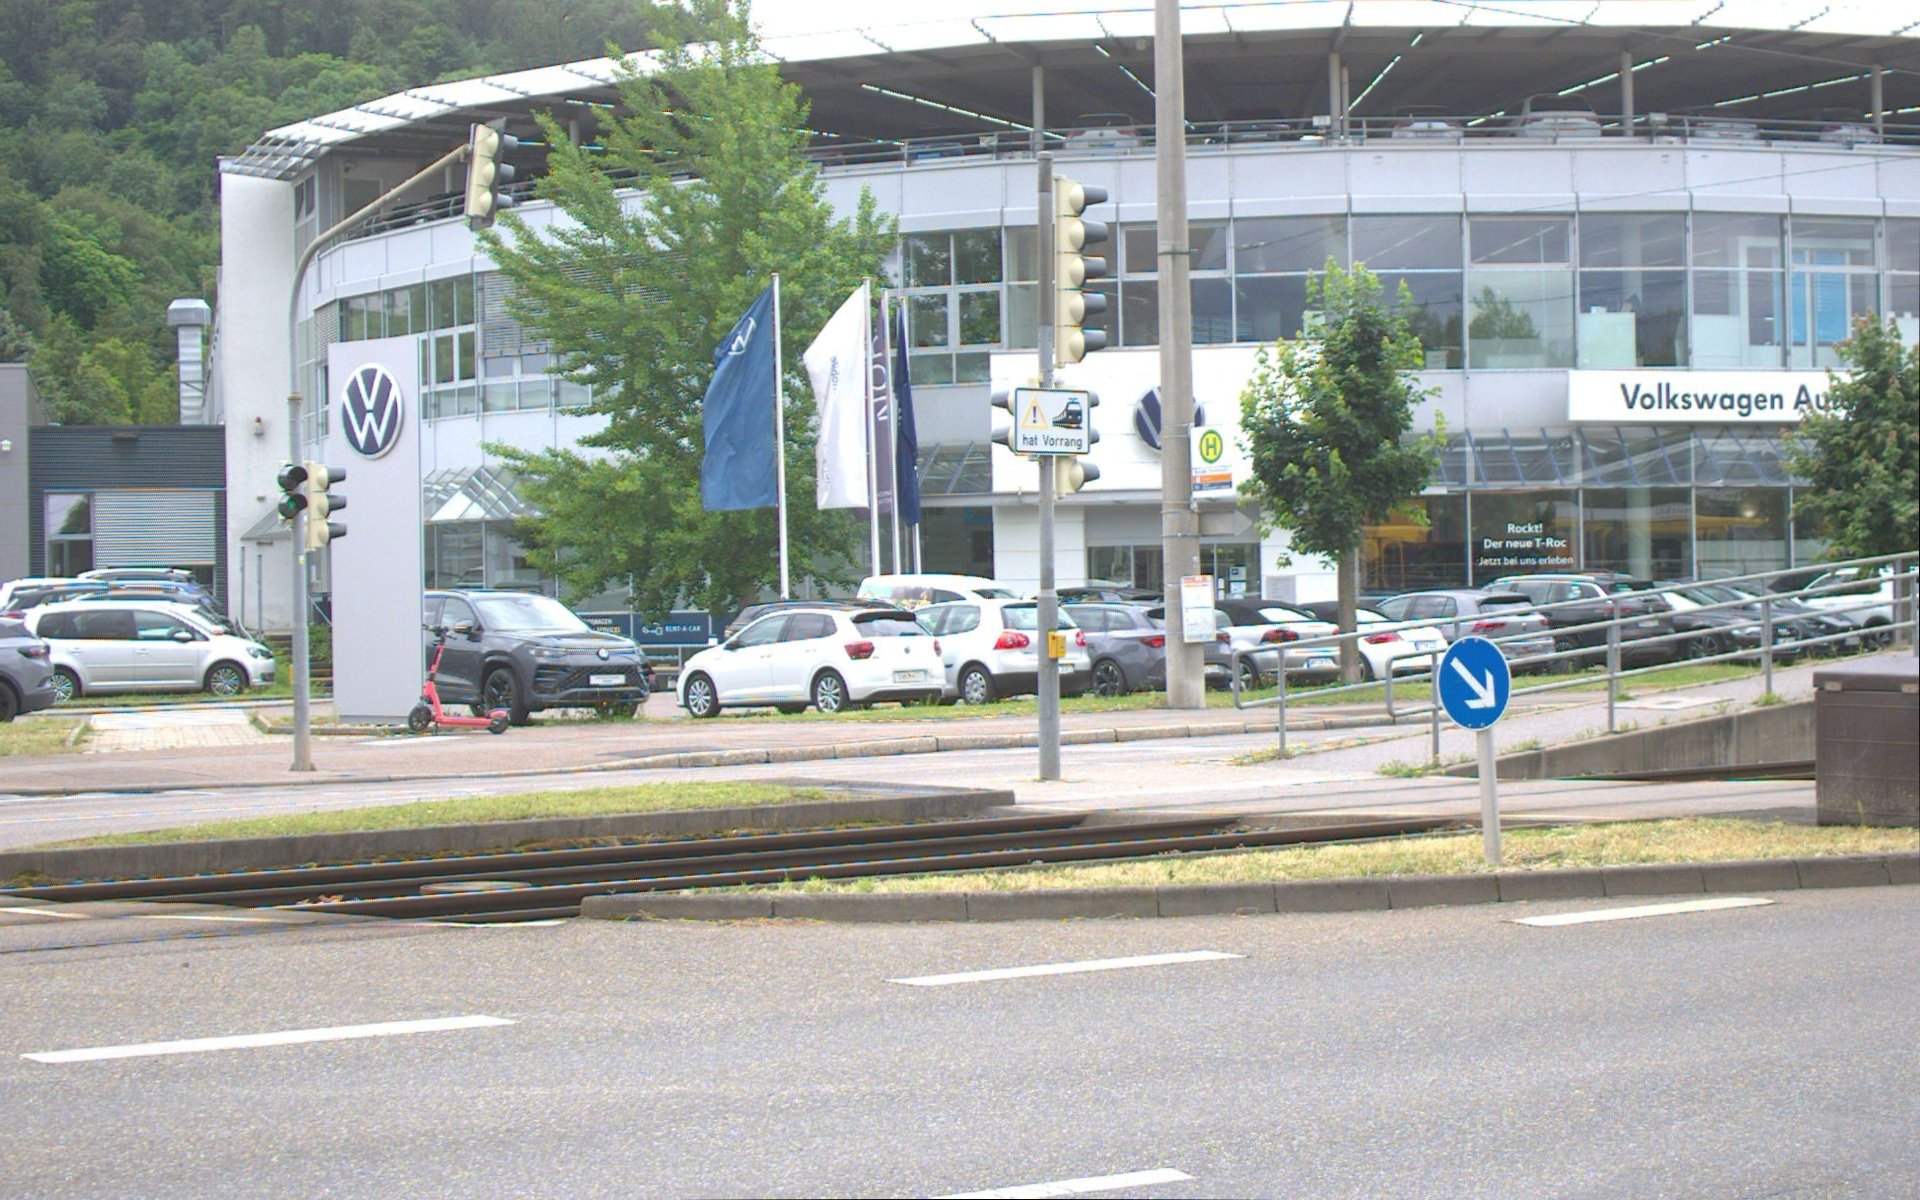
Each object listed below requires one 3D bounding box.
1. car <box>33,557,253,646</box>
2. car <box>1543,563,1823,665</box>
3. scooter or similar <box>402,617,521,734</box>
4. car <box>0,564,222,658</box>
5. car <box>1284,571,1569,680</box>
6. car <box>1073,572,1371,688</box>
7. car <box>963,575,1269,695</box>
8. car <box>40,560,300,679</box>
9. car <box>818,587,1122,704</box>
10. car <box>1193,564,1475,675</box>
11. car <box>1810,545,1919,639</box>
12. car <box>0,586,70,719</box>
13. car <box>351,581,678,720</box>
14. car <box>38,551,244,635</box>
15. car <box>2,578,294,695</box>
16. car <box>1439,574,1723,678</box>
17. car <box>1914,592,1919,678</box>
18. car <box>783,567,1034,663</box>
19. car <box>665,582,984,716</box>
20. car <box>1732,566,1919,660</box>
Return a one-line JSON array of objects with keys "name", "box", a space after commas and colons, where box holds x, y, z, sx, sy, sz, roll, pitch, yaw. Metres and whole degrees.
[{"name": "car", "box": [-18.002, 0.057, 75.729, 4.494, 1.723, 2.000, 3, -2, -18]}, {"name": "car", "box": [11.635, 0.223, 55.451, 1.922, 1.549, 3.997, -3, 1, -44]}, {"name": "scooter or similar", "box": [-5.702, 0.869, 39.327, 1.200, 1.284, 0.575, 3, -3, -22]}, {"name": "car", "box": [-17.713, 0.255, 71.272, 4.494, 1.723, 2.000, 3, -2, -18]}, {"name": "car", "box": [7.178, 0.403, 53.107, 1.922, 1.549, 3.997, 4, -3, -44]}, {"name": "car", "box": [3.773, 0.448, 49.874, 1.922, 1.549, 3.997, 4, -3, -44]}, {"name": "car", "box": [2.140, 0.495, 47.983, 1.922, 1.549, 3.997, 4, -3, -44]}, {"name": "car", "box": [-14.725, 0.386, 64.014, 4.494, 1.990, 2.000, 3, -2, -17]}, {"name": "car", "box": [0.105, 0.624, 46.691, 1.809, 1.472, 3.997, 4, -3, -44]}, {"name": "car", "box": [5.583, 0.309, 51.651, 1.724, 1.549, 3.997, 4, -3, -44]}, {"name": "car", "box": [17.299, -0.127, 60.942, 1.921, 1.549, 3.999, 4, -3, -36]}, {"name": "car", "box": [-13.933, 0.643, 45.097, 3.986, 1.700, 2.000, 3, -3, -26]}, {"name": "car", "box": [-5.509, 0.608, 42.281, 1.995, 1.634, 3.997, 1, -1, -44]}, {"name": "car", "box": [-19.256, -0.150, 80.763, 4.494, 1.723, 2.000, 3, -2, -18]}, {"name": "car", "box": [-13.435, 0.631, 56.855, 4.494, 1.723, 2.000, 3, -2, -18]}, {"name": "car", "box": [9.732, 0.400, 54.023, 1.922, 1.549, 3.997, -2, 1, -44]}, {"name": "car", "box": [19.338, 0.653, 61.560, 1.921, 1.549, 3.999, 4, -3, -36]}, {"name": "car", "box": [-0.913, 0.269, 59.961, 3.995, 1.549, 1.923, 0, -3, 37]}, {"name": "car", "box": [-1.820, 0.648, 45.275, 1.994, 1.634, 3.997, 4, -3, -44]}, {"name": "car", "box": [15.462, 0.214, 59.024, 1.921, 1.549, 3.999, -2, 0, -36]}]
